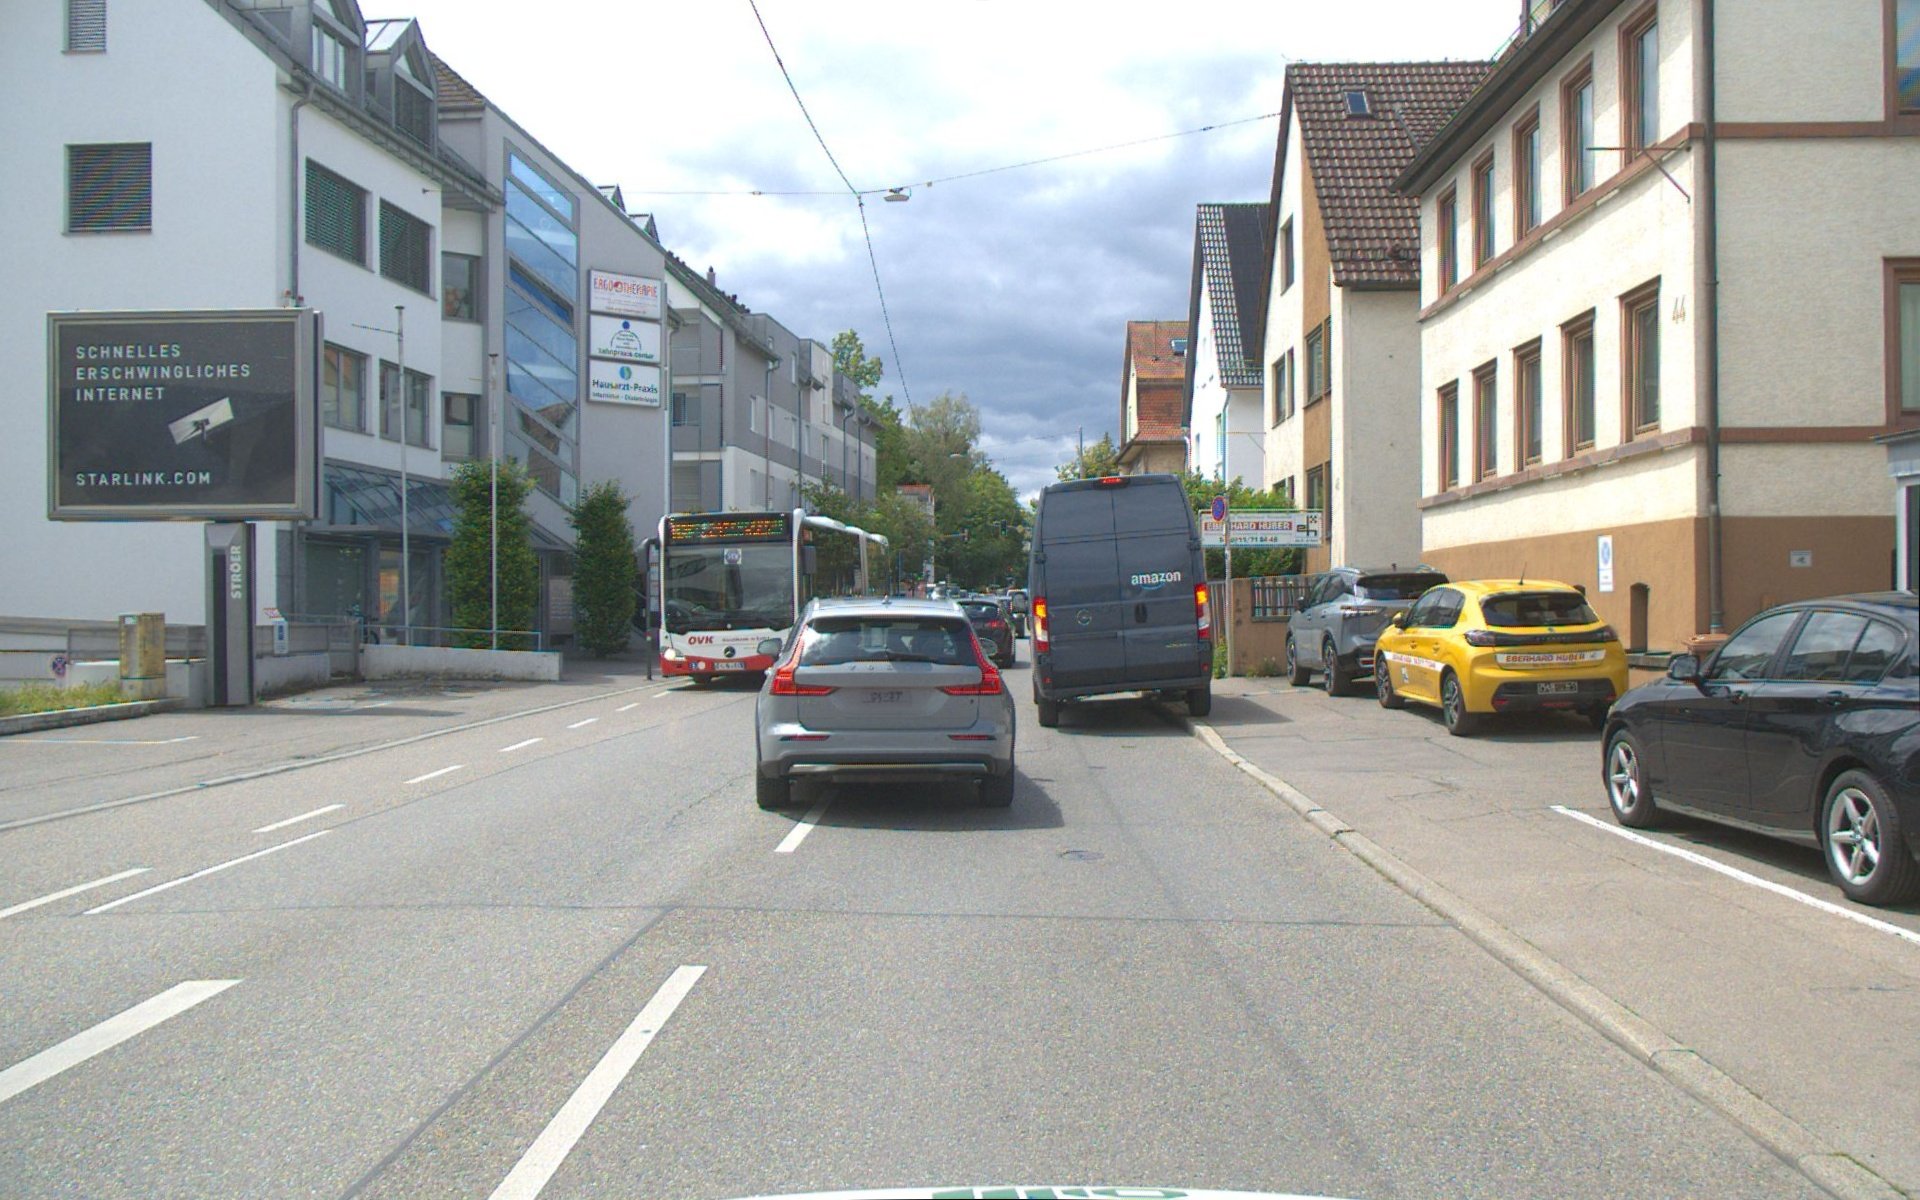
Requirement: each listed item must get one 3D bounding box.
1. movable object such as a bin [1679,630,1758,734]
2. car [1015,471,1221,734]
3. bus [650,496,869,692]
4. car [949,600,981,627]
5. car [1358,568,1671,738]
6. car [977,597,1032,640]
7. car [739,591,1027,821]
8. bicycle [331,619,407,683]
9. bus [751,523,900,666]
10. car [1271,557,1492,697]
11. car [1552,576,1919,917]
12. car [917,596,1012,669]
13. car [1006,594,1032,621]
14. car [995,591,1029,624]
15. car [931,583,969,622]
[{"bbox_3d":[7.106,0.760,15.520,0.490,0.941,0.598,-1,0,5],"label":"movable object such as a bin"},{"bbox_3d":[1.900,0.026,20.811,2.205,2.844,5.572,-1,0,4],"label":"car"},{"bbox_3d":[-3.611,-0.097,32.494,2.626,3.219,10.187,-1,0,2],"label":"bus"},{"bbox_3d":[0.329,0.872,109.356,2.062,1.739,4.766,-1,0,1],"label":"car"},{"bbox_3d":[5.702,0.455,17.602,1.839,1.472,4.307,-1,2,-1],"label":"car"},{"bbox_3d":[1.636,0.650,59.256,1.857,1.472,3.970,0,0,3],"label":"car"},{"bbox_3d":[-0.562,0.683,12.756,1.858,1.479,3.967,1,0,-2],"label":"car"},{"bbox_3d":[-11.027,0.932,30.906,0.617,1.114,2.003,-1,0,3],"label":"bicycle"},{"bbox_3d":[-3.210,-0.119,41.616,2.659,3.219,8.071,-1,0,3],"label":"bus"},{"bbox_3d":[5.552,0.318,22.396,1.822,1.640,4.586,-2,0,1],"label":"car"},{"bbox_3d":[5.066,0.611,9.102,1.928,1.473,4.535,-1,0,-1],"label":"car"},{"bbox_3d":[0.143,0.657,35.953,1.857,1.472,3.970,1,0,3],"label":"car"},{"bbox_3d":[4.678,0.589,130.725,1.952,2.049,4.001,0,0,3],"label":"car"},{"bbox_3d":[3.220,0.450,103.401,1.953,2.049,3.999,0,0,-1],"label":"car"},{"bbox_3d":[-0.534,0.143,96.950,2.062,2.158,4.766,-2,0,1],"label":"car"}]
